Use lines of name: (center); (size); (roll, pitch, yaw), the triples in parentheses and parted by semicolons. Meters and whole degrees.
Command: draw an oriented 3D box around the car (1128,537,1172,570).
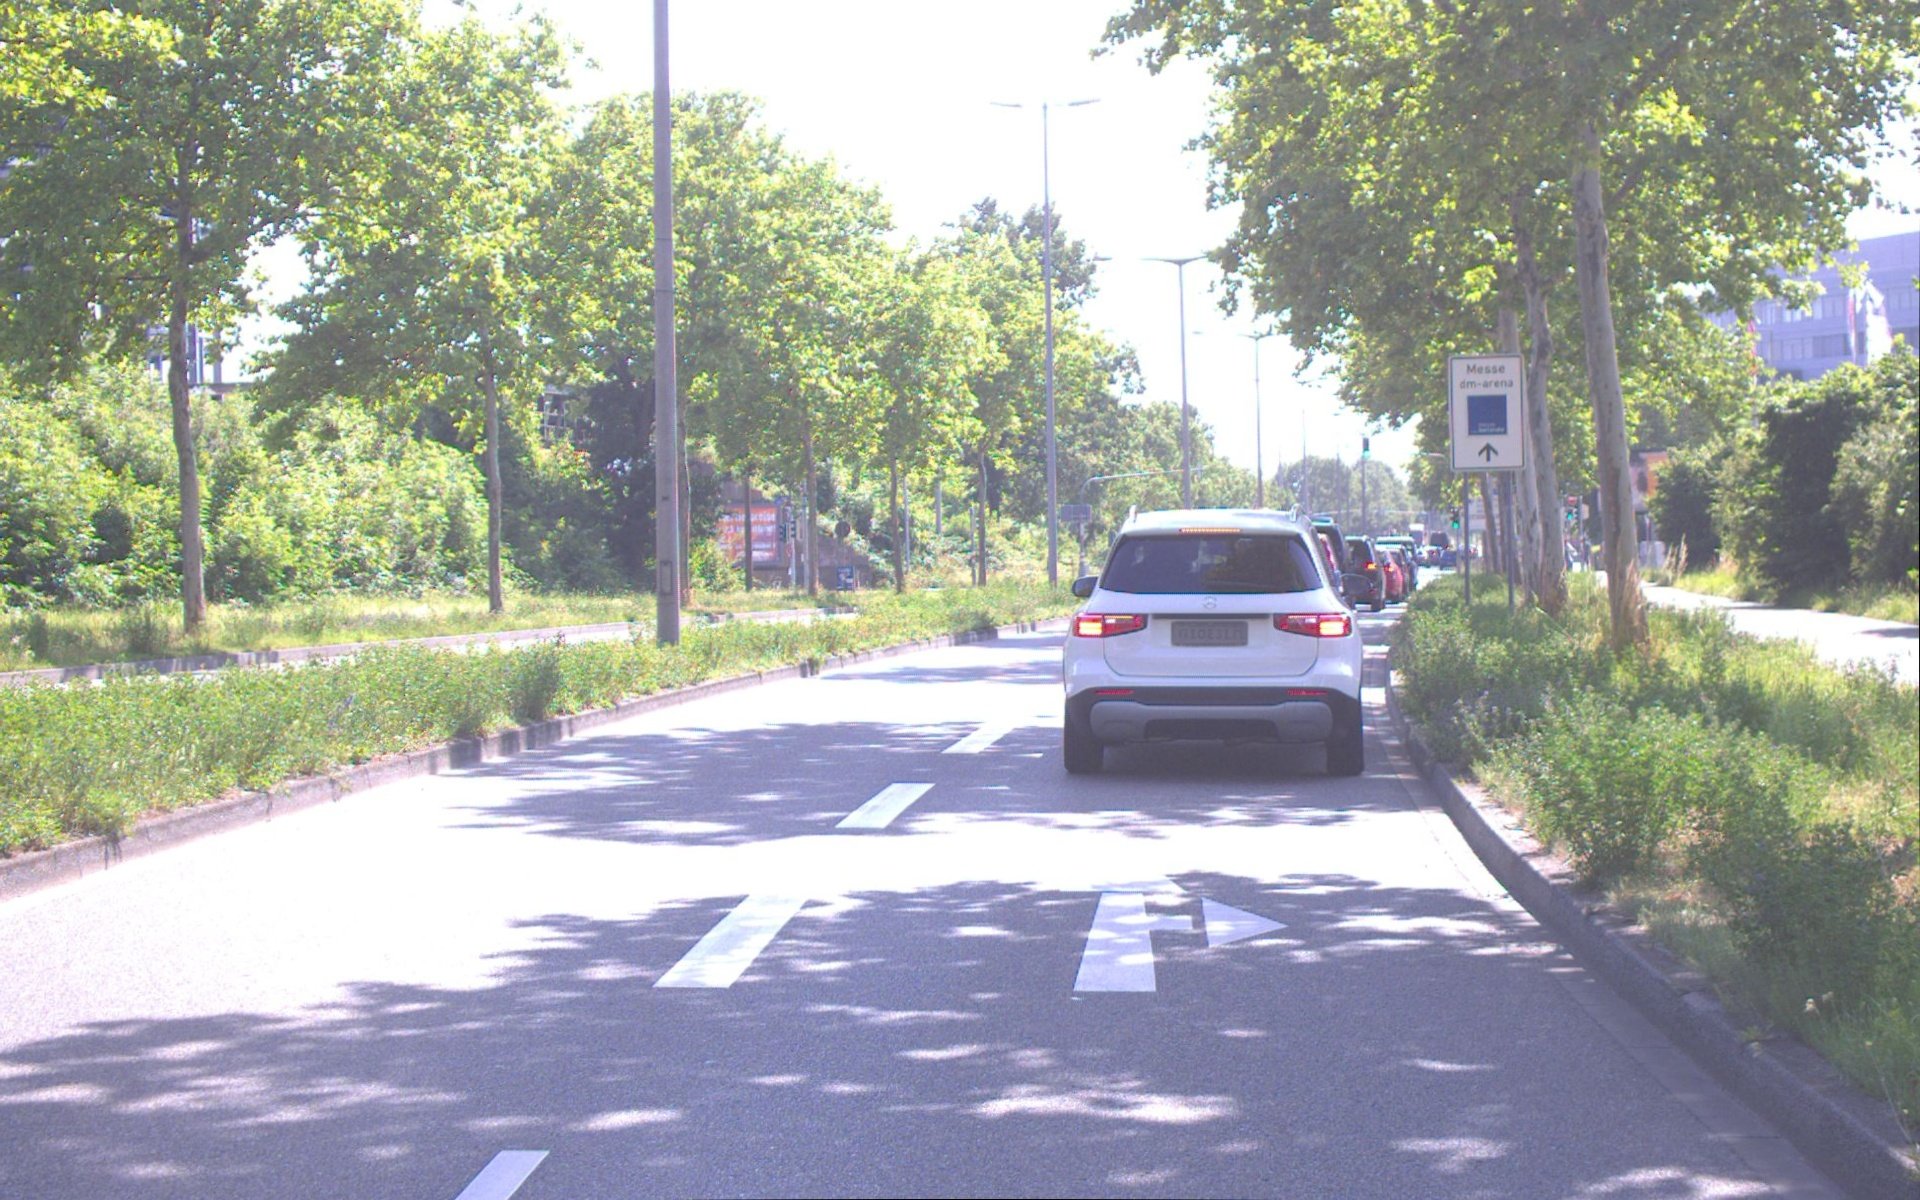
car: (9.496, -2.294, 171.430); (1.716, 1.616, 4.359); (-1, 0, 9)

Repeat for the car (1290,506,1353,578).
car: (13.632, -2.170, 129.463); (2.082, 2.647, 4.872); (0, 1, 9)

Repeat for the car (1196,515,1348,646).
car: (3.994, -0.258, 44.179); (1.854, 1.602, 3.999); (0, 1, 5)

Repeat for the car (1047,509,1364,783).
car: (1.609, 0.244, 22.195); (1.854, 1.602, 3.999); (0, 1, 5)
